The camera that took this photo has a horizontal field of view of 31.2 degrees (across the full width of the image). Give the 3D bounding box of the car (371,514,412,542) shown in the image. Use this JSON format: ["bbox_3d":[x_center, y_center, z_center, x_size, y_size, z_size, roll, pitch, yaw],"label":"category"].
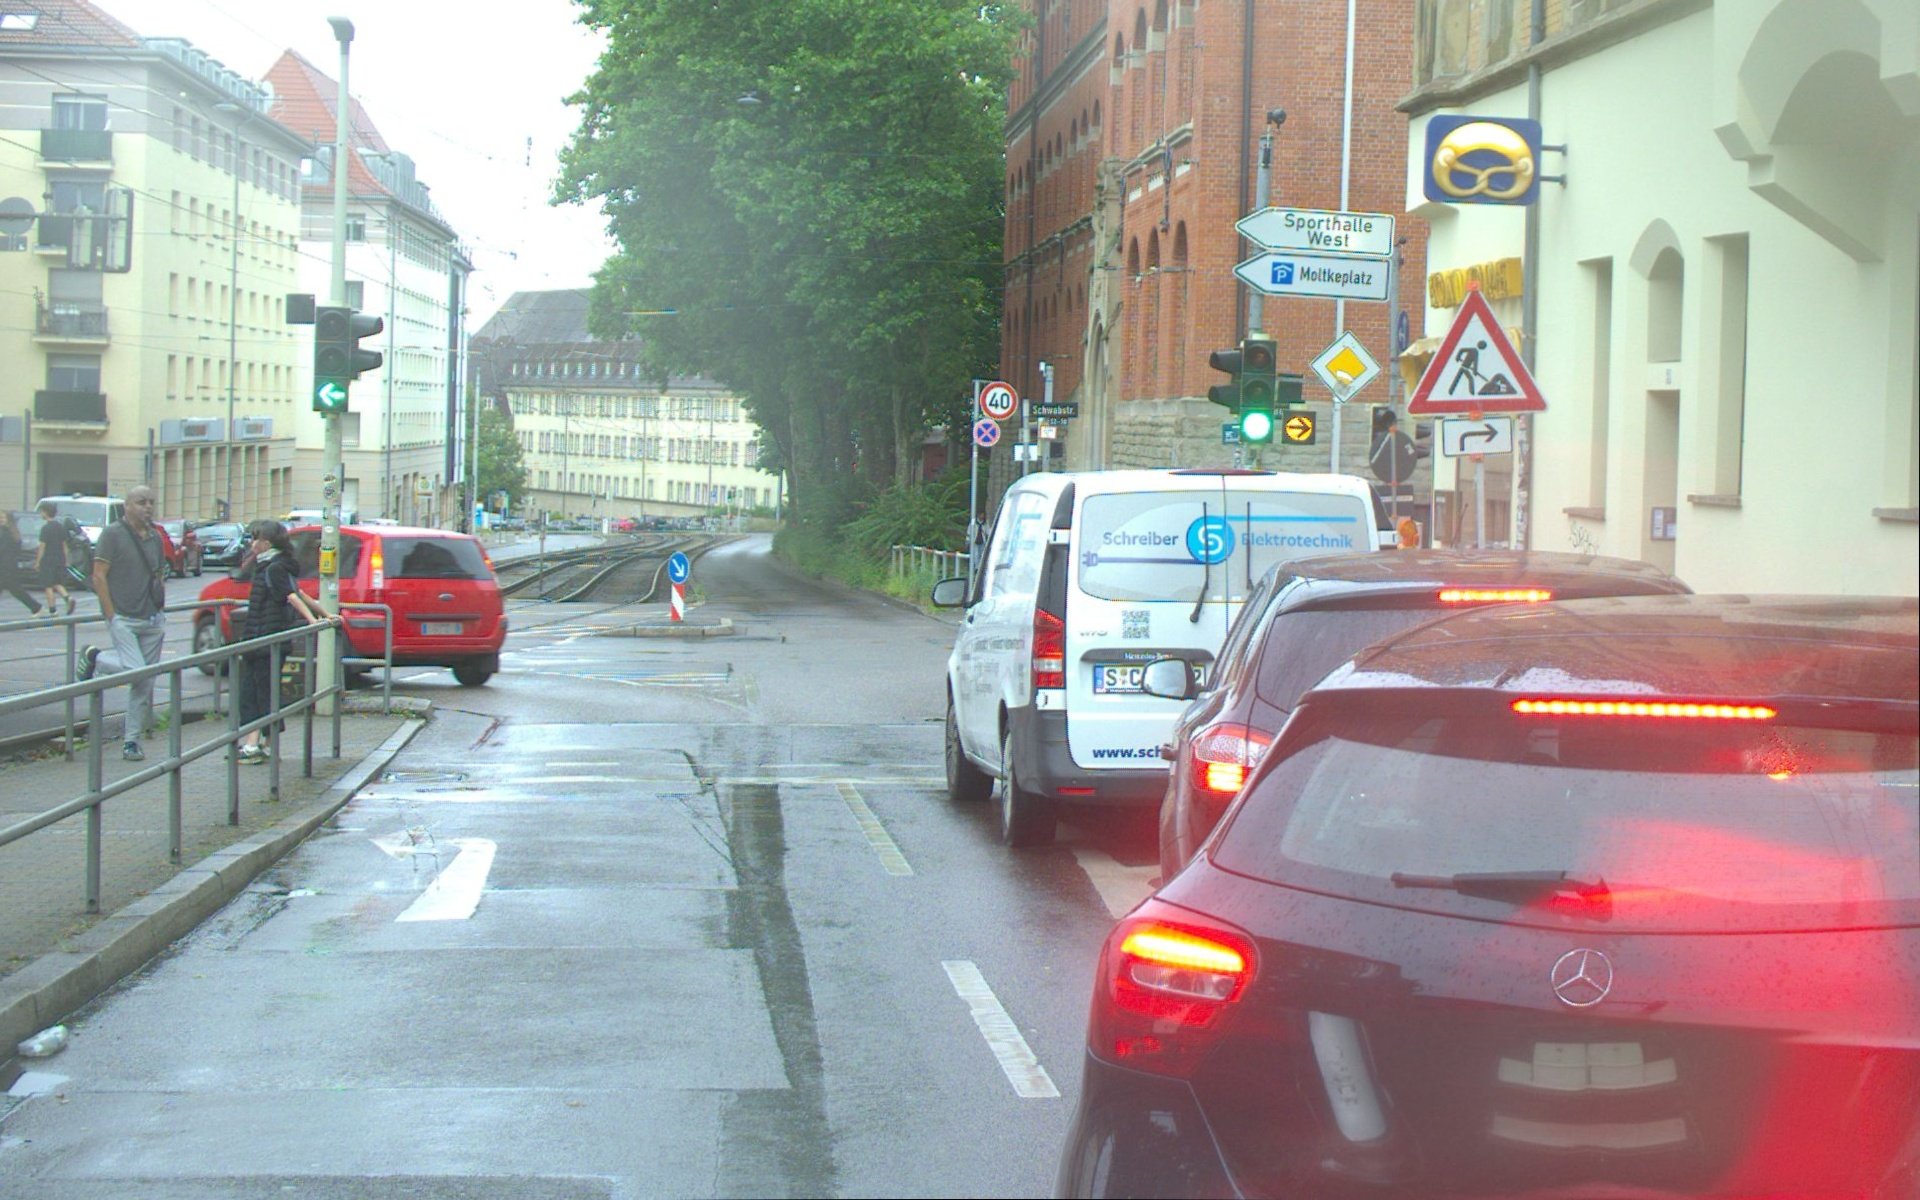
[{"bbox_3d":[-24.519,-3.104,148.250,1.395,1.167,3.162,1,1,-3],"label":"car"}]

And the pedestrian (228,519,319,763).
[{"bbox_3d":[-4.366,0.255,21.867,0.531,1.525,0.437,1,1,-11],"label":"pedestrian"}]

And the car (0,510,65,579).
[{"bbox_3d":[-19.257,-1.143,69.918,1.451,1.314,3.296,2,1,-5],"label":"car"}]

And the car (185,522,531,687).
[{"bbox_3d":[-5.900,0.006,33.443,1.680,1.484,3.611,0,2,-41],"label":"car"}]

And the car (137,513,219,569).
[{"bbox_3d":[-19.790,-1.496,87.076,1.499,1.351,3.162,1,1,-3],"label":"car"}]

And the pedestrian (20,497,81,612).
[{"bbox_3d":[-13.219,-0.668,49.989,0.679,1.655,0.676,1,1,3],"label":"pedestrian"}]

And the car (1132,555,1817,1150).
[{"bbox_3d":[1.501,0.619,11.017,1.713,1.464,4.280,2,1,5],"label":"car"}]

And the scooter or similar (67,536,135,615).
[{"bbox_3d":[-12.669,-0.361,50.702,0.929,1.159,0.336,0,2,-18],"label":"scooter or similar"}]

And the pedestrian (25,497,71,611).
[{"bbox_3d":[-13.444,-0.682,50.677,0.518,1.660,0.477,2,1,-2],"label":"pedestrian"}]

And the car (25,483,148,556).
[{"bbox_3d":[-19.348,-1.778,76.323,1.786,1.525,4.463,1,1,-3],"label":"car"}]

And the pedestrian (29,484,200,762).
[{"bbox_3d":[-5.385,0.136,21.896,0.740,1.718,0.739,2,1,43],"label":"pedestrian"}]

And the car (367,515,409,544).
[{"bbox_3d":[-23.918,-2.951,143.787,1.395,1.167,3.162,1,1,-3],"label":"car"}]

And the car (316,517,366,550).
[{"bbox_3d":[-22.721,-2.441,126.282,1.395,1.167,3.162,1,1,-3],"label":"car"}]

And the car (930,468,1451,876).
[{"bbox_3d":[1.041,0.280,17.840,1.933,1.825,4.282,1,1,-6],"label":"car"}]

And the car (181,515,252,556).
[{"bbox_3d":[-20.647,-1.796,95.574,1.437,1.103,3.162,1,1,-3],"label":"car"}]

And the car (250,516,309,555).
[{"bbox_3d":[-21.555,-2.055,108.986,1.395,1.167,3.162,1,1,-3],"label":"car"}]

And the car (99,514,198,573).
[{"bbox_3d":[-19.611,-1.385,83.187,1.680,1.351,3.703,1,1,-3],"label":"car"}]

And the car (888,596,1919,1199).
[{"bbox_3d":[1.624,0.725,6.093,1.897,1.385,3.994,2,1,26],"label":"car"}]

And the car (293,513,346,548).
[{"bbox_3d":[-22.363,-2.418,120.073,1.395,1.167,3.162,1,1,-3],"label":"car"}]
